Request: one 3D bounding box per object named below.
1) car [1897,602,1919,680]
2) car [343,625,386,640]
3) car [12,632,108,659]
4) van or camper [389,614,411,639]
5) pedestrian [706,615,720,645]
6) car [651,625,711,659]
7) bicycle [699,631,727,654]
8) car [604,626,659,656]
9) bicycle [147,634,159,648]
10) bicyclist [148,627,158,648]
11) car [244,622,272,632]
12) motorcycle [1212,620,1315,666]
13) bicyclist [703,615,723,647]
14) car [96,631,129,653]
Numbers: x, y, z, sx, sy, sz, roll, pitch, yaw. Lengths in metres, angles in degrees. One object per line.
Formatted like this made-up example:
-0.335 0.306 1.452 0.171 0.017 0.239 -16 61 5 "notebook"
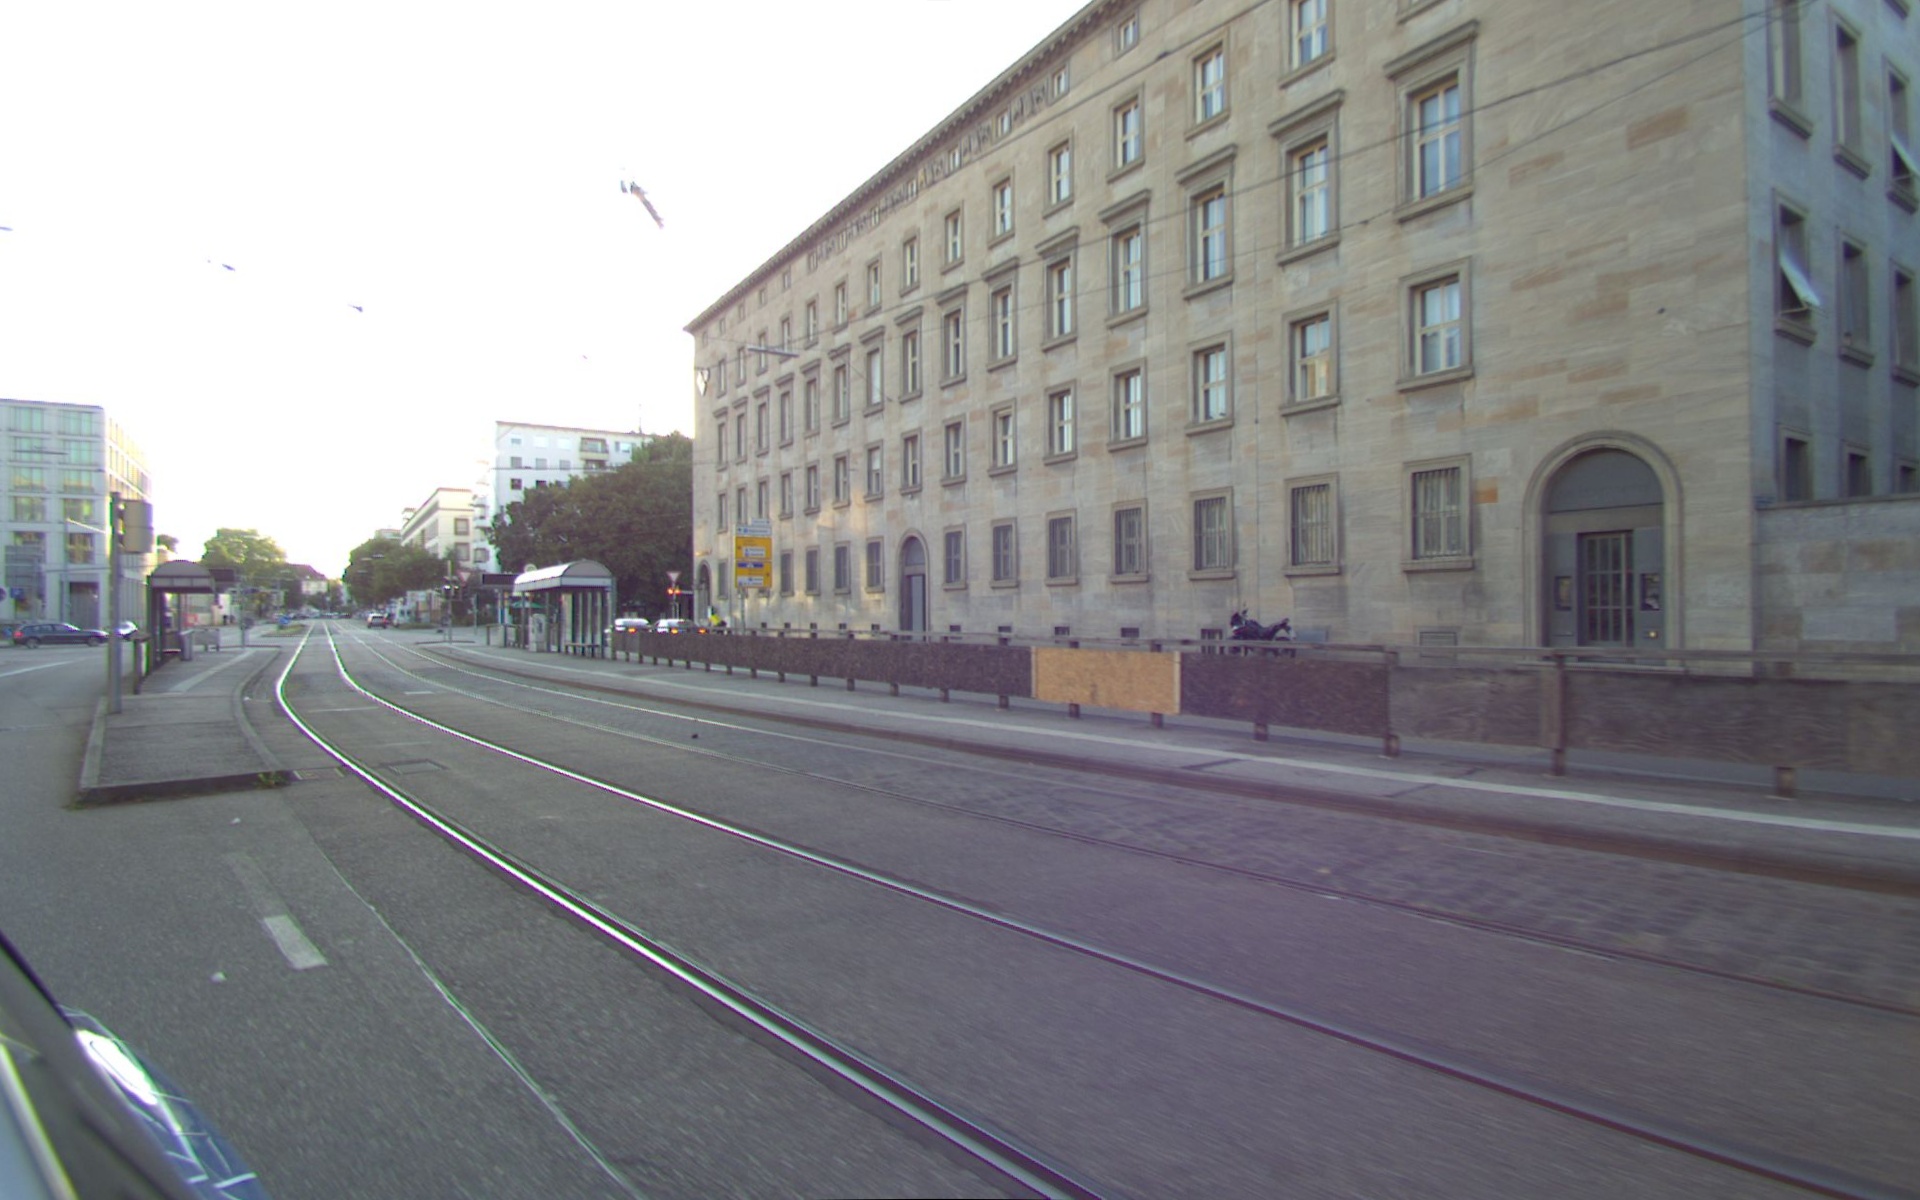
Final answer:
19.274 0.744 19.175 3.133 1.430 1.482 0 -1 -33 "car"
-66.903 3.657 113.708 4.310 1.676 1.876 -1 -1 18 "car"
-51.768 2.607 58.329 4.108 1.431 1.701 0 -1 -41 "car"
-65.316 3.156 118.012 2.076 2.702 4.724 -1 -3 -31 "van or camper"
-14.624 1.763 59.928 0.686 1.723 0.648 0 -1 -30 "pedestrian"
-12.736 1.891 46.094 1.620 1.438 3.715 0 -1 -33 "car"
-11.439 1.959 46.903 0.731 1.025 1.766 0 -1 -32 "bicycle"
-16.648 2.042 51.203 1.620 1.438 4.244 0 -1 -33 "car"
-62.287 3.177 78.094 0.531 1.059 1.766 0 -1 -32 "bicycle"
-62.278 2.896 78.070 0.532 1.648 0.598 0 -1 -32 "bicyclist"
-117.444 4.559 169.398 3.745 1.661 1.868 0 -1 -33 "car"
7.557 1.059 25.377 0.689 1.083 2.661 1 -2 -33 "motorcycle"
-11.445 1.430 46.903 0.746 1.451 0.598 0 -1 -32 "bicyclist"
-65.887 3.261 78.691 1.789 1.534 4.816 -2 0 -42 "car"
